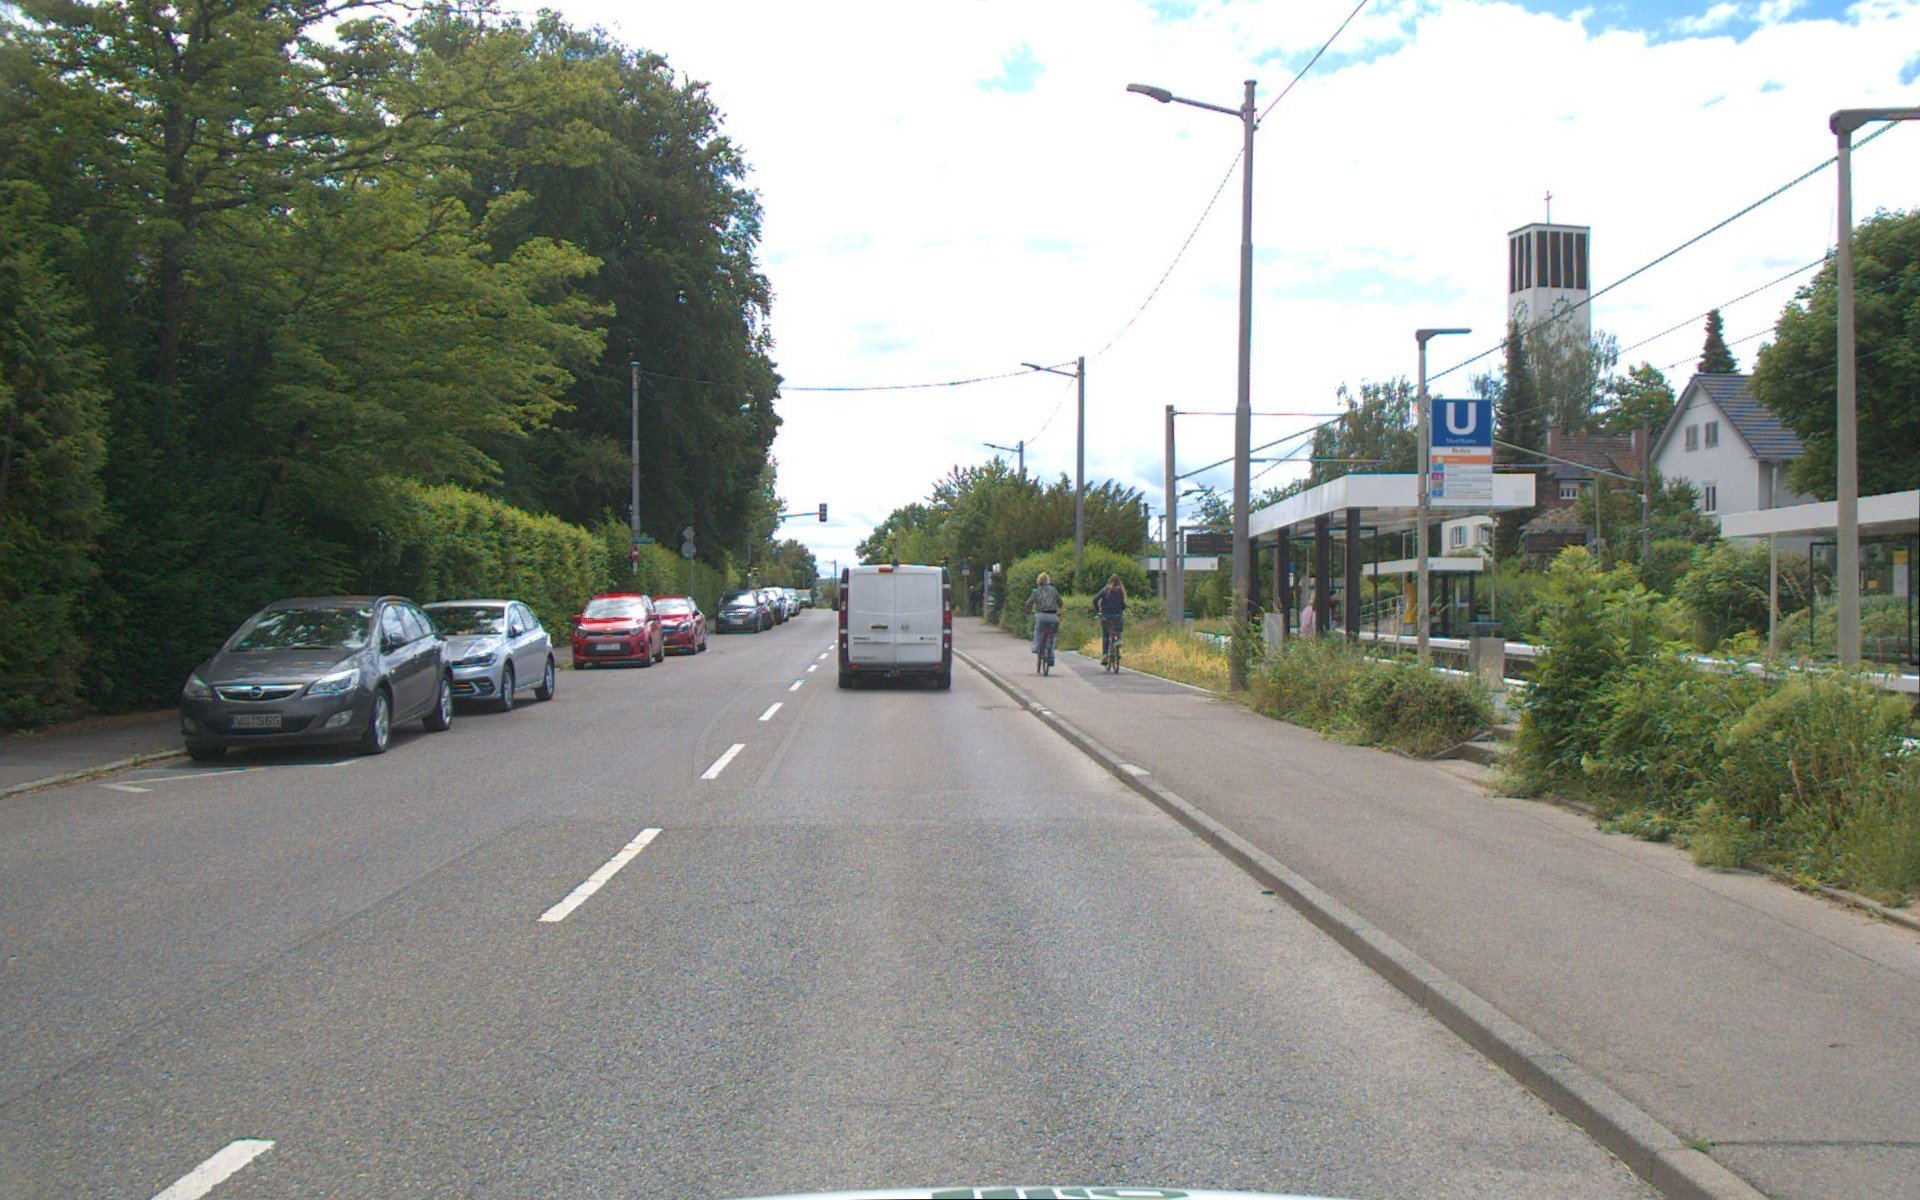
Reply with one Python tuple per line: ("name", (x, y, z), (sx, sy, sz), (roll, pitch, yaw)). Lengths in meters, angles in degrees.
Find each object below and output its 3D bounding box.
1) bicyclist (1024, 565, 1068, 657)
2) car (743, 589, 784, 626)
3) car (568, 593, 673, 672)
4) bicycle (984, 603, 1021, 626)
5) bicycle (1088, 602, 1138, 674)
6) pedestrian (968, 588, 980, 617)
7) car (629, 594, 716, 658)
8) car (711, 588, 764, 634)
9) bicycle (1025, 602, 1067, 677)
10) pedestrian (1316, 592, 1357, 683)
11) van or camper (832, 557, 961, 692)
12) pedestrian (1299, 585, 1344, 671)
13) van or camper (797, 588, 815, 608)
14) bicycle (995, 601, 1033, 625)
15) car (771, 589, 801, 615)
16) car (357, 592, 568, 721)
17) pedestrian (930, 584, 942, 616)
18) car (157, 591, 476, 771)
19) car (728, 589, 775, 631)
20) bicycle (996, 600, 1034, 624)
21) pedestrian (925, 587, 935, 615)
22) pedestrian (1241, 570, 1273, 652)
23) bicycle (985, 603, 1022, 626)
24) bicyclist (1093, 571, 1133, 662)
("bicyclist", (1.539, 0.190, 29.768), (0.703, 1.640, 0.757), (1, 0, -3))
("car", (-9.427, 0.336, 79.645), (1.727, 1.685, 3.812), (-1, 0, -4))
("car", (-7.137, 0.645, 35.056), (1.556, 1.531, 3.514), (-1, 0, -2))
("bicycle", (1.980, 0.684, 77.025), (1.665, 1.048, 0.491), (1, 0, -4))
("bicycle", (2.877, 0.696, 31.275), (0.606, 1.268, 2.394), (1, 1, -3))
("pedestrian", (0.831, 0.122, 98.622), (0.660, 1.726, 0.522), (1, 0, 2))
("car", (-7.239, 0.615, 42.023), (1.727, 1.497, 4.182), (-1, 0, -4))
("car", (-8.494, 0.395, 63.359), (1.727, 1.654, 4.182), (-1, 0, -4))
("bicycle", (1.539, 0.688, 29.776), (0.535, 1.268, 2.054), (1, 1, -3))
("pedestrian", (5.737, 0.566, 25.233), (0.477, 1.367, 0.395), (1, 0, -15))
("van or camper", (-1.073, 0.389, 27.862), (1.953, 2.049, 4.443), (2, 0, -2))
("pedestrian", (5.974, 0.457, 27.353), (0.570, 1.404, 0.739), (1, 0, -1))
("van or camper", (-18.547, -0.250, 198.957), (1.966, 2.301, 4.605), (-1, 0, -7))
("bicycle", (2.419, 0.586, 74.503), (1.665, 1.048, 0.491), (1, 0, -4))
("car", (-11.105, 0.114, 105.661), (1.727, 1.584, 3.812), (-1, 0, -4))
("car", (-6.586, 0.682, 22.327), (1.701, 1.531, 3.962), (-2, 0, -2))
("pedestrian", (-1.399, -0.027, 97.527), (0.666, 1.873, 0.646), (1, 0, 3))
("car", (-6.327, 0.700, 16.836), (1.702, 1.531, 4.474), (-2, 0, -4))
("car", (-8.710, 0.386, 69.334), (1.727, 1.685, 4.058), (-1, 0, -4))
("bicycle", (2.449, 0.522, 73.948), (1.665, 1.048, 0.491), (1, 0, -4))
("pedestrian", (-2.066, 0.068, 114.779), (0.688, 1.883, 0.666), (1, 0, -3))
("pedestrian", (6.416, 0.235, 35.758), (0.624, 1.755, 0.655), (1, 0, 13))
("bicycle", (2.014, 0.684, 76.486), (1.665, 1.048, 0.491), (1, 0, -4))
("bicyclist", (2.873, 0.307, 31.133), (0.626, 1.678, 0.818), (1, 0, -3))
